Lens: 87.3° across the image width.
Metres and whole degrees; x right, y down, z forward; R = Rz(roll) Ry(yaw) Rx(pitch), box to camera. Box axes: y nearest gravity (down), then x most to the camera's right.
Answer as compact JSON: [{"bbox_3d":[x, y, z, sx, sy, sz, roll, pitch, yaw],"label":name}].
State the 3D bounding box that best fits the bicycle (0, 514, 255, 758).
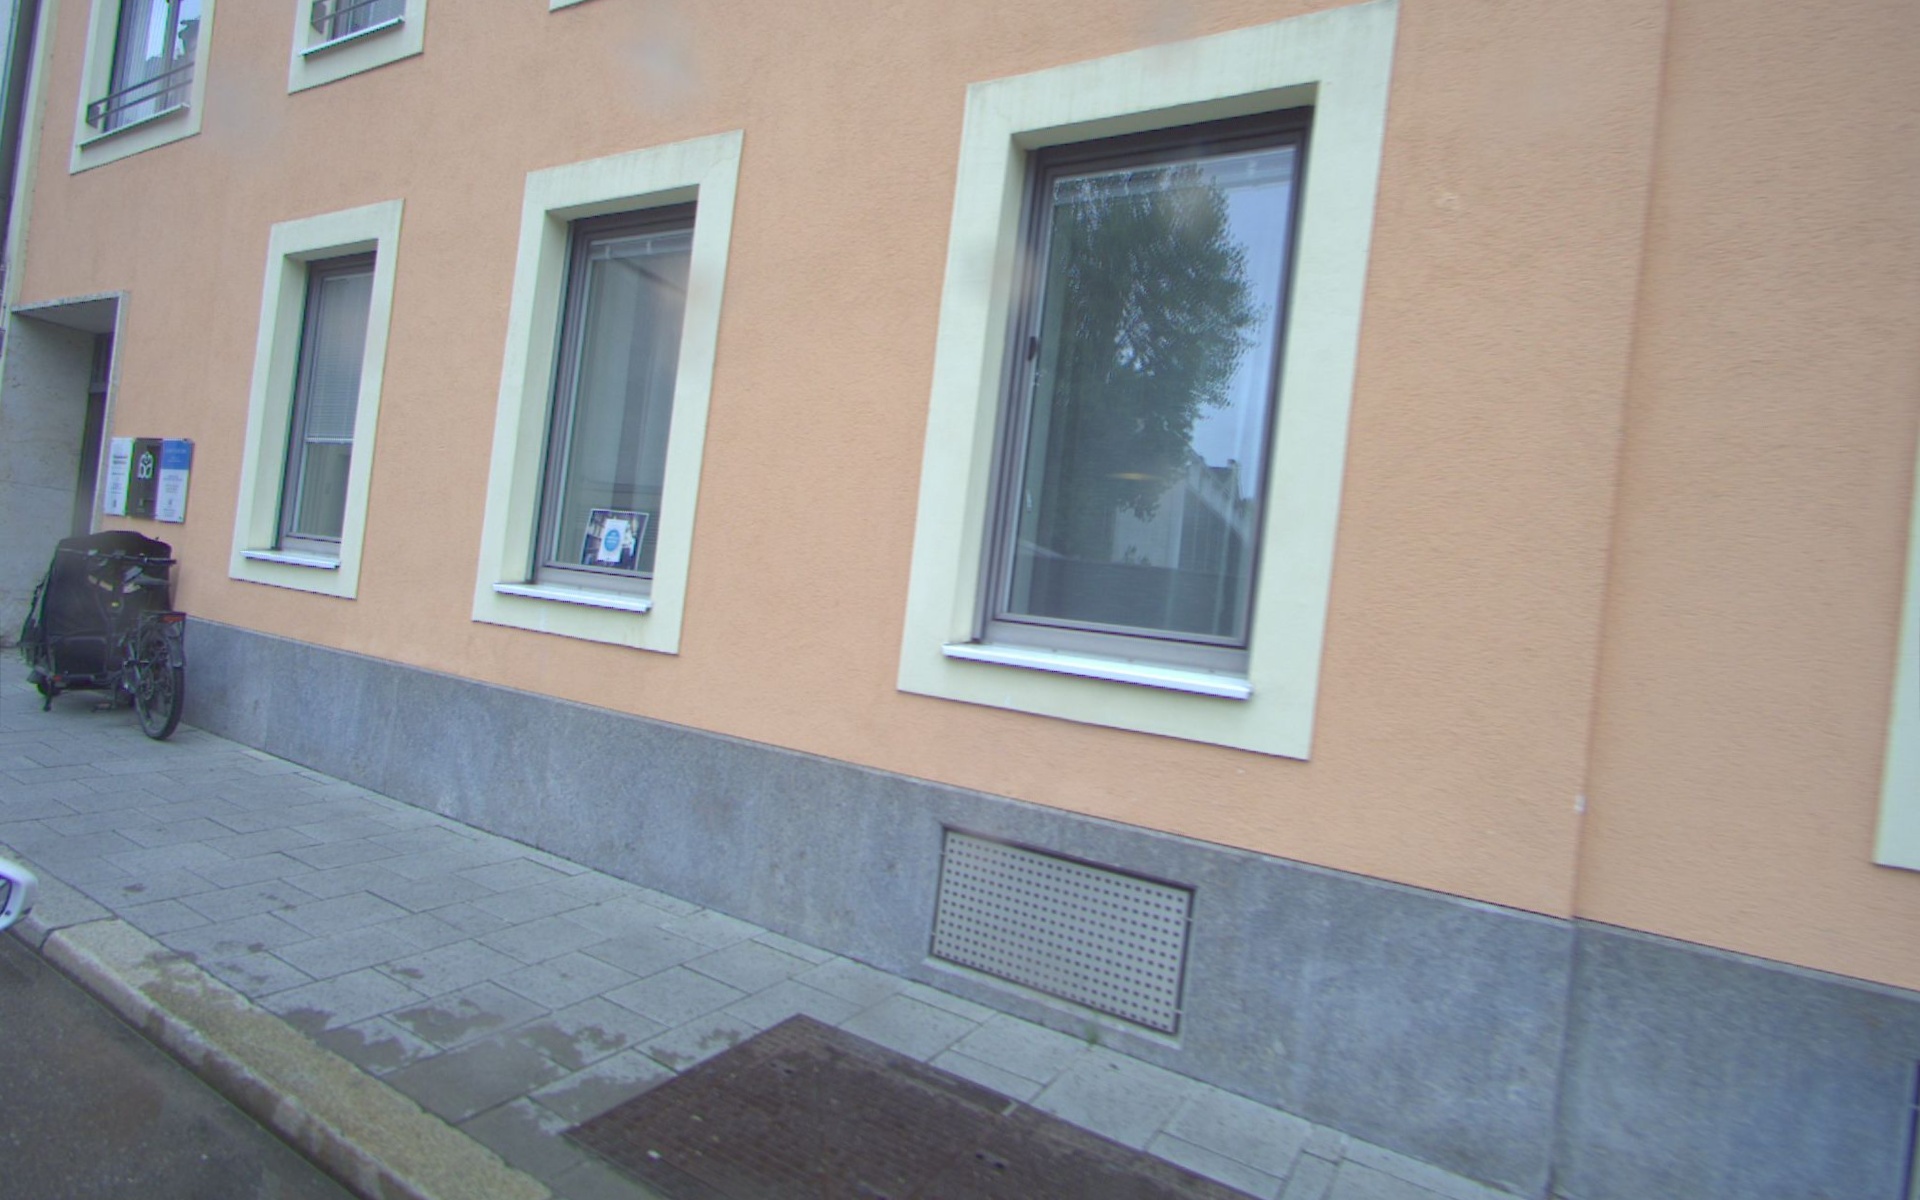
[{"bbox_3d":[-5.563,0.154,6.602,2.343,1.257,0.679,7,4,33],"label":"bicycle"}]
